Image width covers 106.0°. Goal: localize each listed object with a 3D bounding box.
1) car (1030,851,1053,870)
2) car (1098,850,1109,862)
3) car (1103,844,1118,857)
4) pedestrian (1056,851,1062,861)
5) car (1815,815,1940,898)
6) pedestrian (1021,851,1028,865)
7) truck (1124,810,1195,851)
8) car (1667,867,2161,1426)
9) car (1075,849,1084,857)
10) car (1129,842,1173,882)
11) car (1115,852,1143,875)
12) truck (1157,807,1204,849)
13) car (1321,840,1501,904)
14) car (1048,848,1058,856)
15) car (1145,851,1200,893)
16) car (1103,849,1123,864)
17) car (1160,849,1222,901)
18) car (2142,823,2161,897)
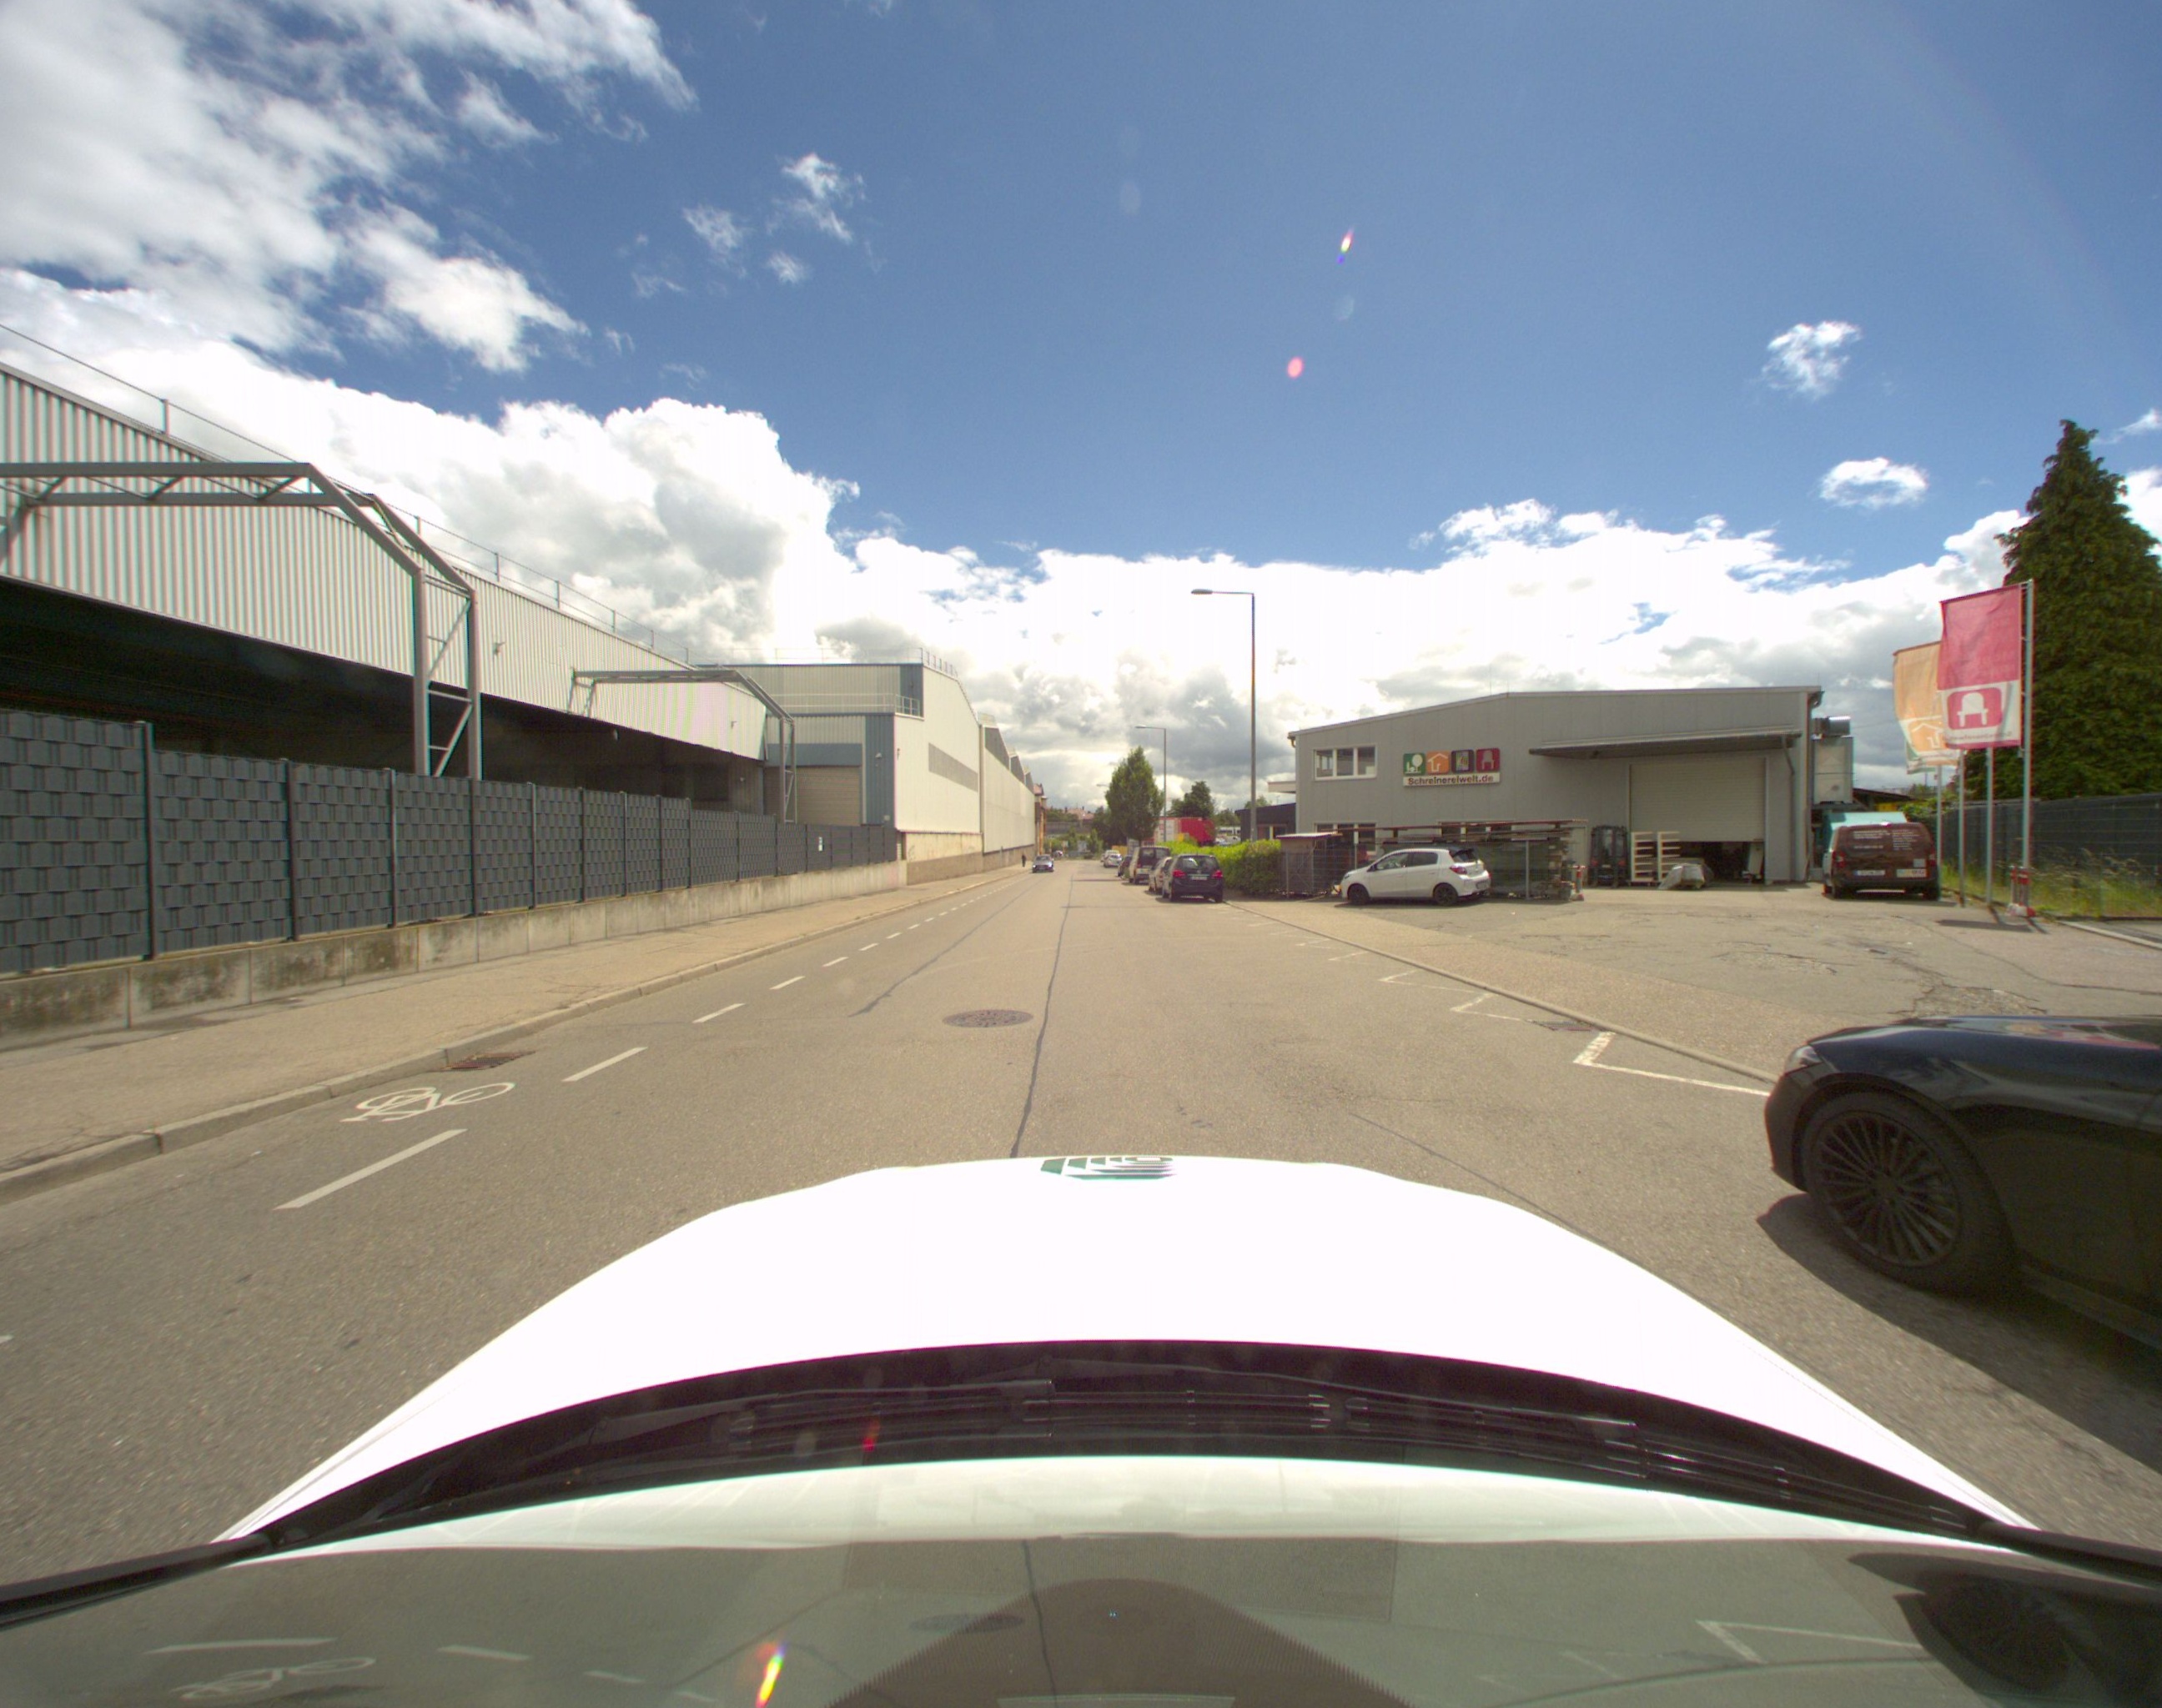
[{"bbox_3d":[-3.468,0.609,72.106,1.714,1.555,4.286,-4,-1,-1],"label":"car"},{"bbox_3d":[3.610,0.342,132.295,1.562,1.786,3.604,0,-1,0],"label":"car"},{"bbox_3d":[3.511,-0.425,97.847,1.695,1.527,3.739,0,0,1],"label":"car"},{"bbox_3d":[-3.721,0.282,137.348,0.849,1.663,0.861,-1,-2,4],"label":"pedestrian"},{"bbox_3d":[19.903,0.041,20.517,1.794,1.871,4.067,-2,0,38],"label":"car"},{"bbox_3d":[-6.650,0.506,95.188,0.710,1.638,0.777,0,-2,1],"label":"pedestrian"},{"bbox_3d":[9.705,-2.846,100.994,8.378,4.671,2.595,-1,-2,20],"label":"truck"},{"bbox_3d":[3.824,0.809,1.671,1.786,1.465,4.705,0,0,-2],"label":"car"},{"bbox_3d":[-0.382,-0.139,165.133,1.847,1.486,3.998,0,-1,-1],"label":"car"},{"bbox_3d":[3.611,0.375,42.906,1.863,1.990,5.142,0,0,0],"label":"car"},{"bbox_3d":[3.297,0.619,56.586,1.709,1.473,4.510,0,0,0],"label":"car"},{"bbox_3d":[11.405,-2.895,94.222,2.579,4.449,7.821,0,-1,-15],"label":"truck"},{"bbox_3d":[8.672,0.492,21.676,1.734,1.462,4.028,-4,1,-39],"label":"car"},{"bbox_3d":[-5.331,-0.334,153.938,1.847,1.486,3.998,0,-1,-1],"label":"car"},{"bbox_3d":[3.633,0.674,32.983,1.650,1.540,4.733,0,0,0],"label":"car"},{"bbox_3d":[3.354,0.268,87.016,1.698,1.527,3.733,2,0,-4],"label":"car"},{"bbox_3d":[3.722,0.658,28.063,1.673,1.638,4.124,0,0,1],"label":"car"},{"bbox_3d":[26.455,0.156,18.870,1.569,1.786,3.855,-2,0,42],"label":"car"}]
